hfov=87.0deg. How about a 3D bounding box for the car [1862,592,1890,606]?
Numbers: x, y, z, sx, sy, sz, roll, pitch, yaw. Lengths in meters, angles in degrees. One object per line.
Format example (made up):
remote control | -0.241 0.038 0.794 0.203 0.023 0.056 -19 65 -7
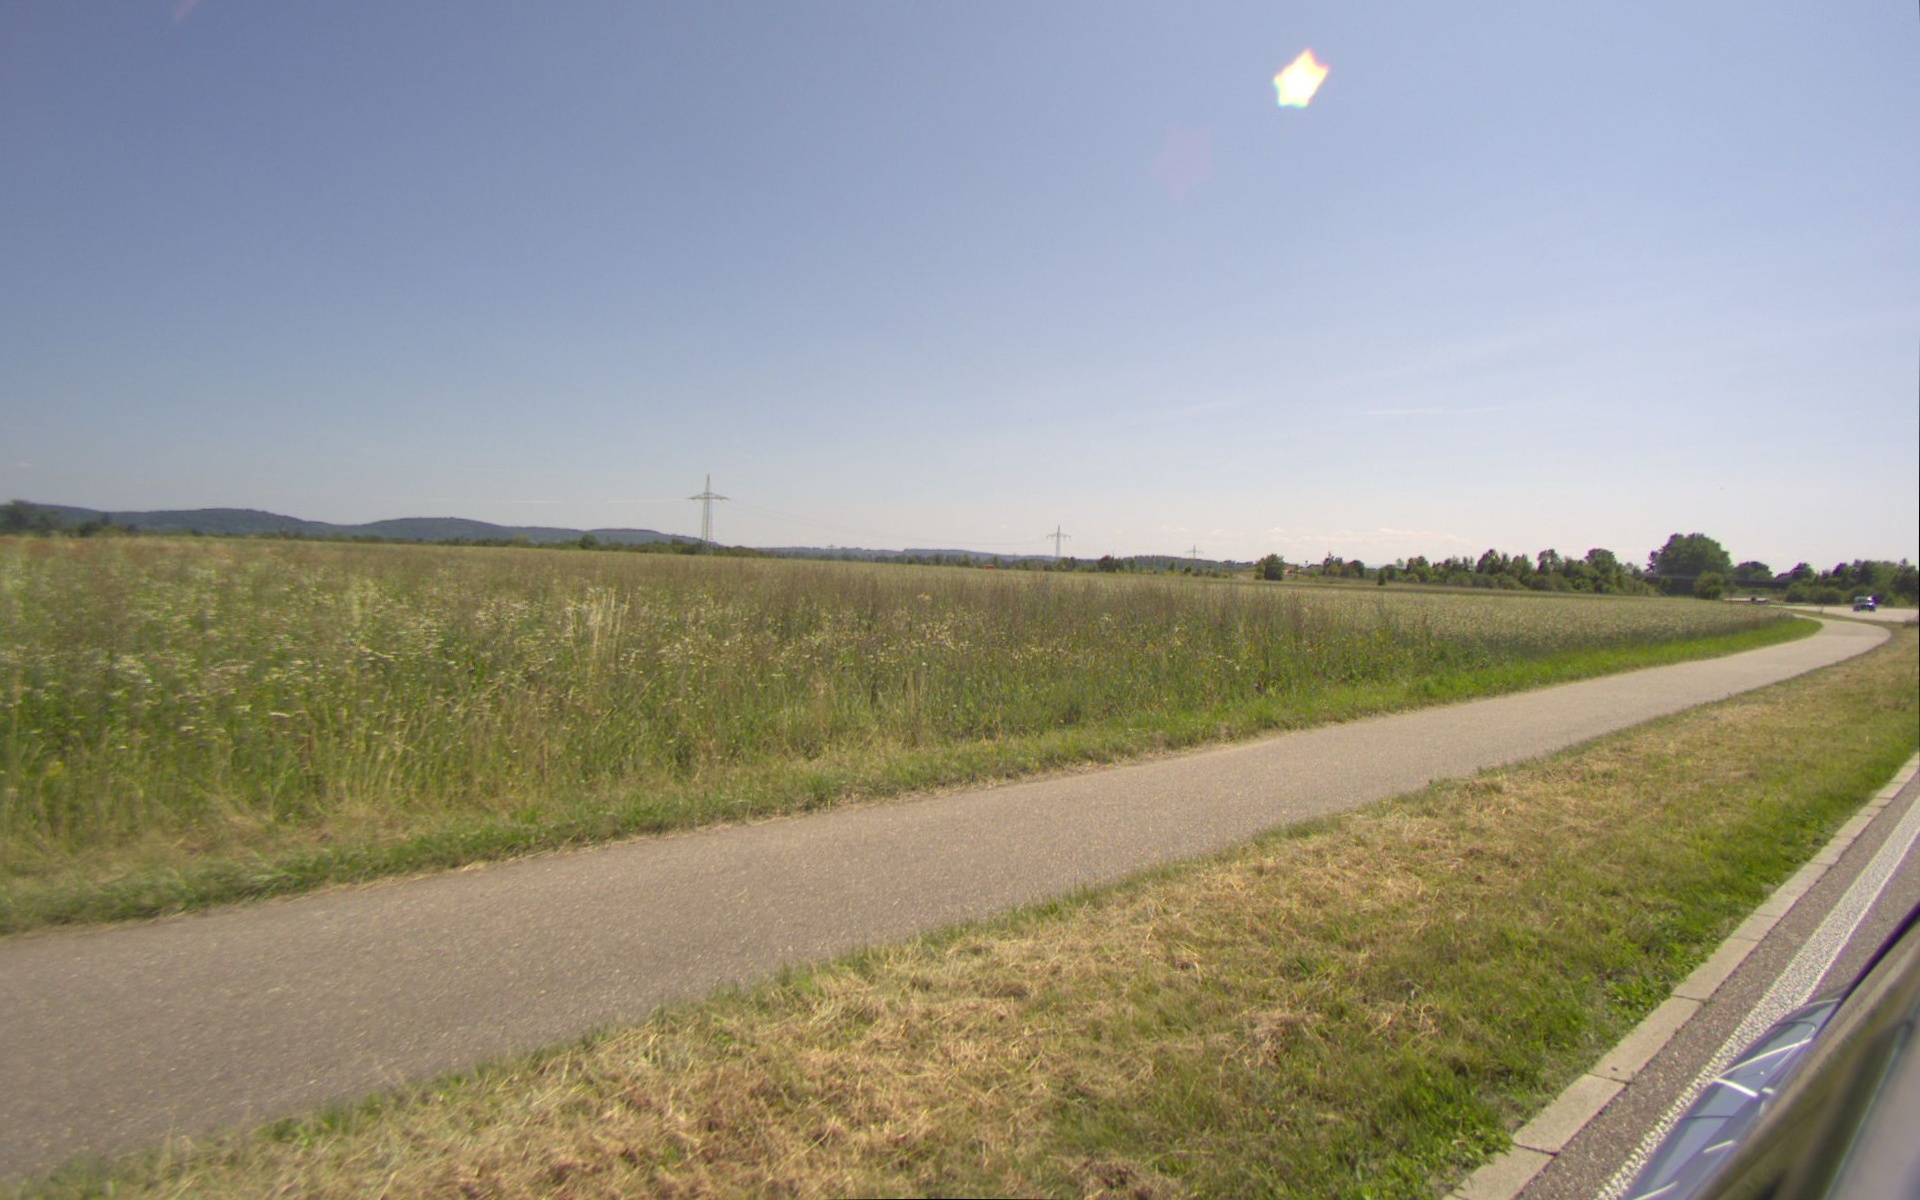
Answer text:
car | 112.739 -0.097 124.588 1.973 1.616 5.330 1 1 37
